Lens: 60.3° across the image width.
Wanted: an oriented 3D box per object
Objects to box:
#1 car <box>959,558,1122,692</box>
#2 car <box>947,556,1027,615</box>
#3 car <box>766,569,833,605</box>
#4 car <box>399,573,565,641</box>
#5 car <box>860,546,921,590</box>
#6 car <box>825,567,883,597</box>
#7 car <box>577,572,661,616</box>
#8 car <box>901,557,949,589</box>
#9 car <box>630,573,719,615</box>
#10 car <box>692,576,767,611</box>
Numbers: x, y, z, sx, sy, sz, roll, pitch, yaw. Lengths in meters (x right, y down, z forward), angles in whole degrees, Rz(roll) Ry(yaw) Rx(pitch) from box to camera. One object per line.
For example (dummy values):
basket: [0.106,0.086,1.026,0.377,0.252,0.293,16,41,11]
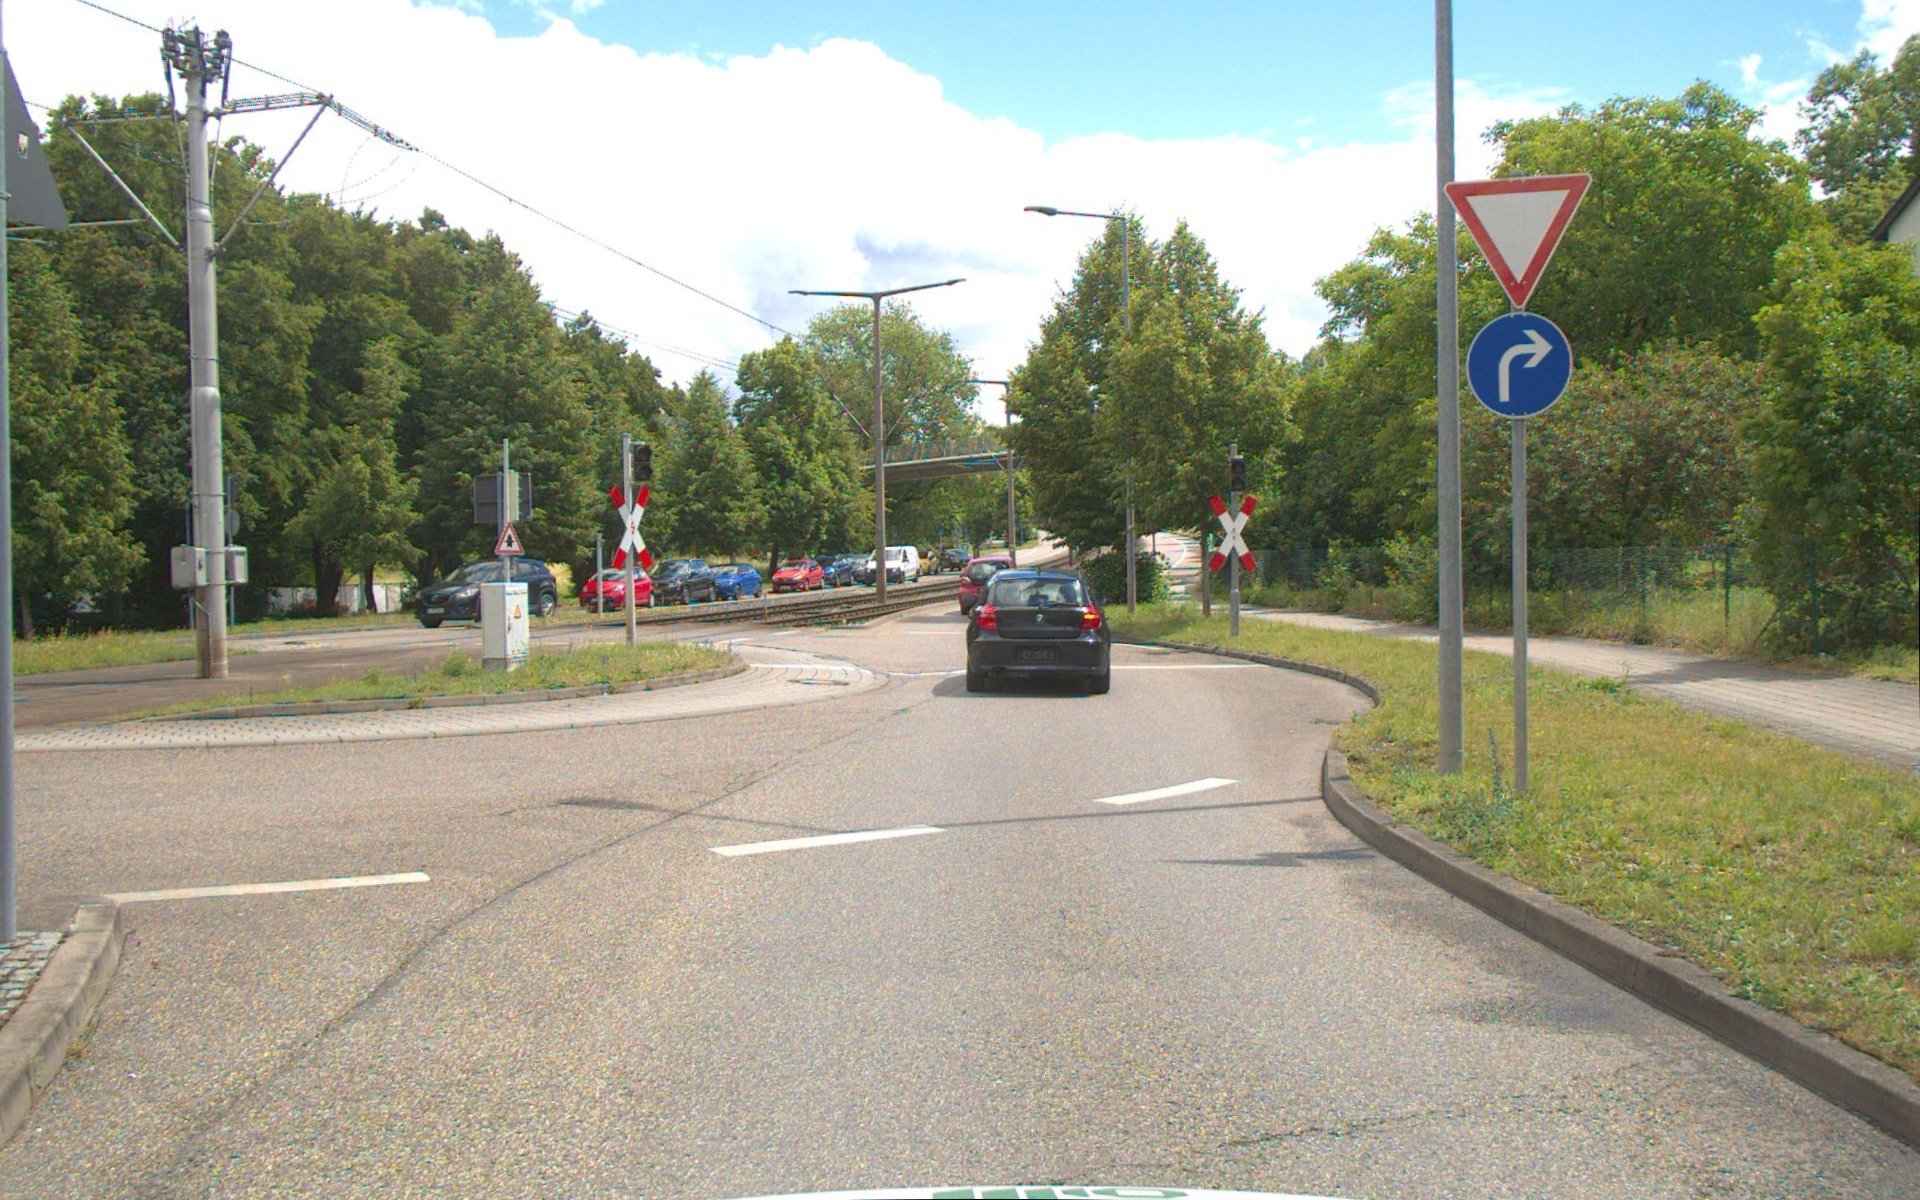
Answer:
car: [0.941,0.302,20.418,1.778,1.445,4.000,-2,-1,1]
car: [0.689,-0.355,43.996,1.731,1.457,3.475,-2,0,-5]
car: [-7.380,-0.626,76.549,1.872,1.588,4.004,-1,1,13]
car: [-12.138,0.141,42.357,1.951,1.625,4.422,-1,1,17]
car: [-3.387,-1.570,81.350,1.951,2.049,4.004,-1,1,13]
car: [-5.539,-0.959,87.019,1.951,1.499,4.004,-1,1,13]
car: [-11.523,-0.229,56.075,1.495,1.394,3.601,-1,1,11]
car: [-2.164,-1.682,102.449,1.951,1.895,4.004,-1,2,14]
car: [-10.440,-0.245,60.735,1.840,1.450,3.534,-1,1,16]
car: [-9.197,-0.268,66.251,1.767,1.276,3.571,-1,2,14]
